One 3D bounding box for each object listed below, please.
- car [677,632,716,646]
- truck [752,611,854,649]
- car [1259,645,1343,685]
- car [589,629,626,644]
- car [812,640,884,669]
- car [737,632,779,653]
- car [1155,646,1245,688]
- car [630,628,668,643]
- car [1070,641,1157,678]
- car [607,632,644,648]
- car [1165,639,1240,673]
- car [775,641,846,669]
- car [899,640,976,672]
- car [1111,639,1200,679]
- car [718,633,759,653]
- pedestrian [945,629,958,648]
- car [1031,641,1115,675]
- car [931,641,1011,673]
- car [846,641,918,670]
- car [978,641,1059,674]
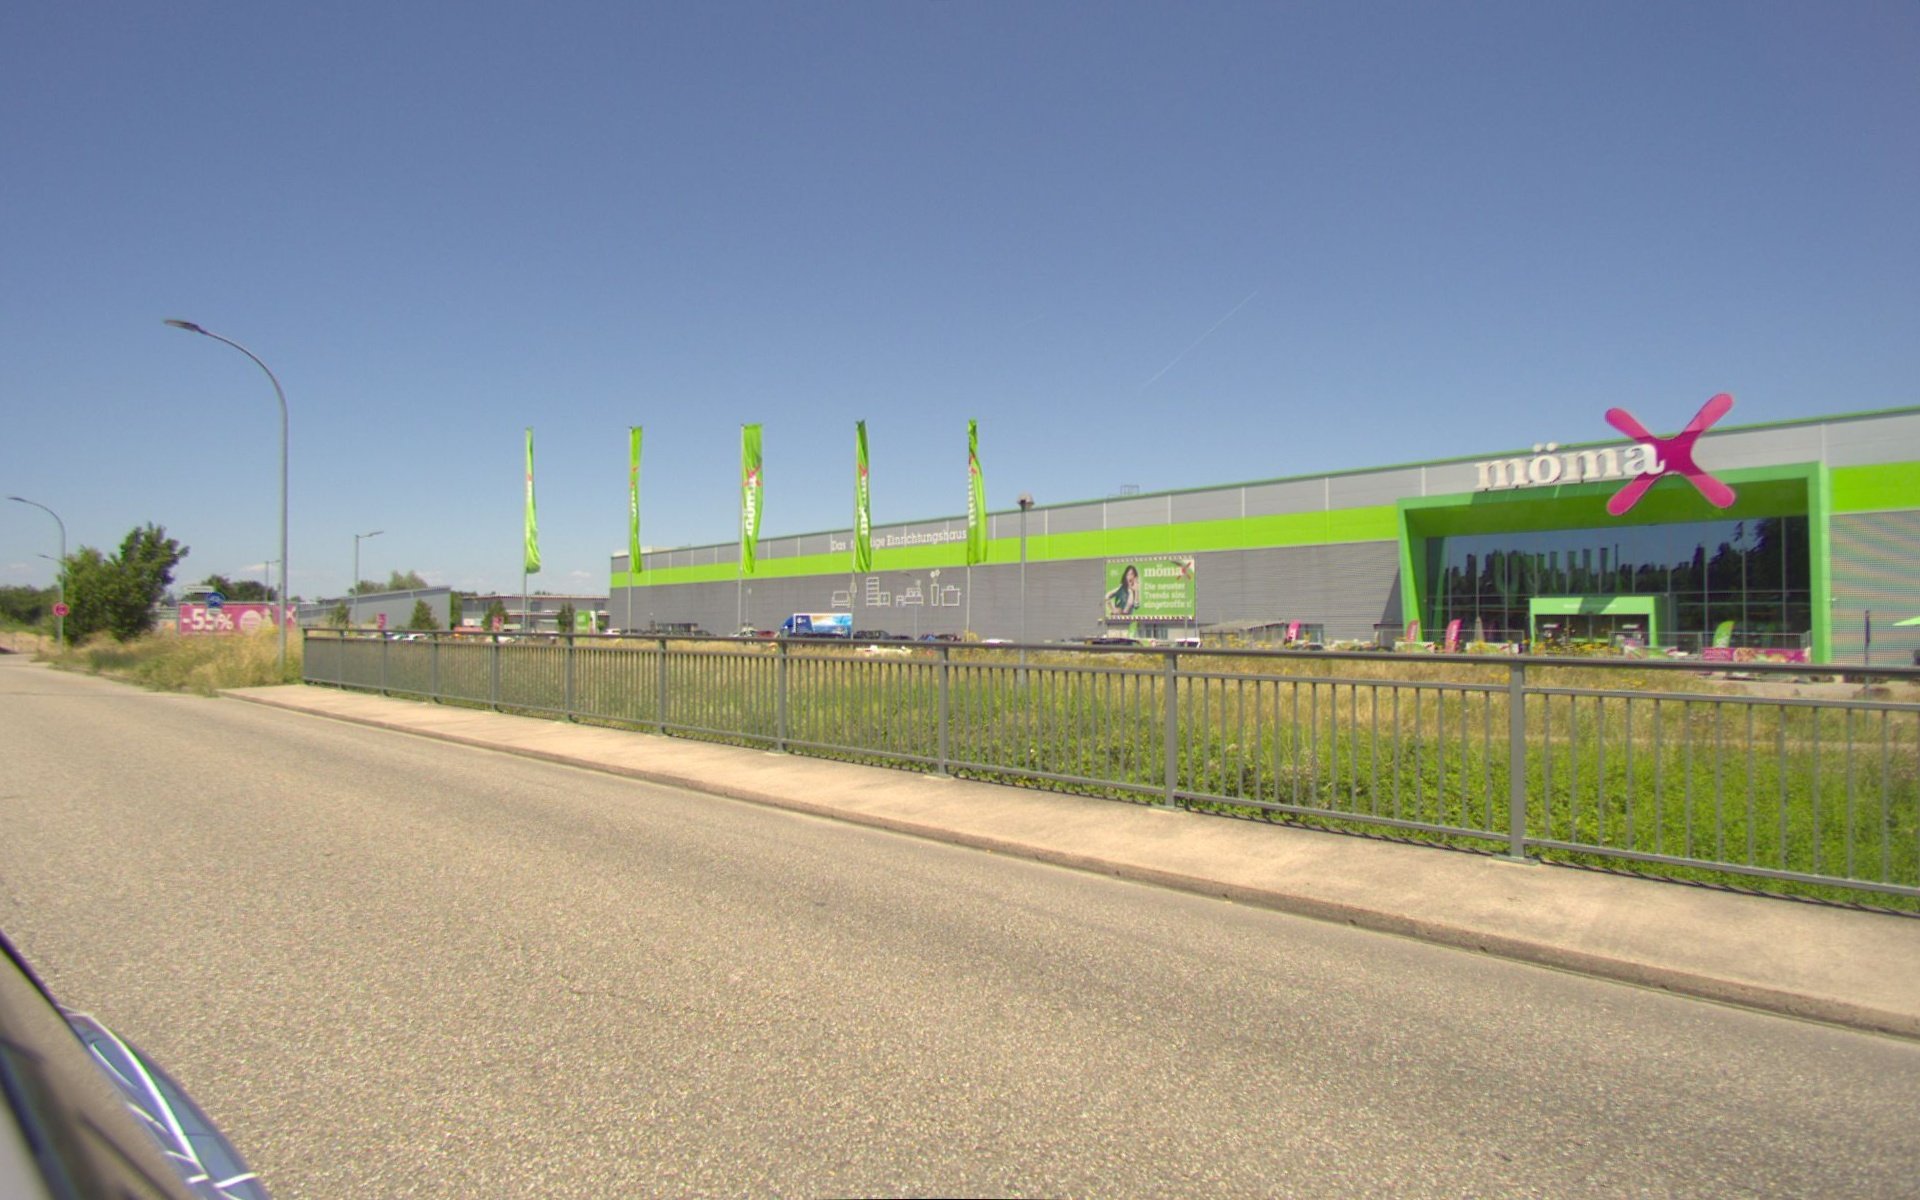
[{"bbox_3d":[-30.495,4.500,117.167,3.939,1.534,2.002,1,-3,-43],"label":"car"},{"bbox_3d":[-12.217,2.299,78.689,7.650,2.704,2.968,-1,-2,-10],"label":"truck"},{"bbox_3d":[15.253,2.856,45.135,2.001,1.524,3.942,-3,-1,44],"label":"car"},{"bbox_3d":[-45.431,4.660,130.477,3.940,1.752,2.002,-1,0,-44],"label":"car"},{"bbox_3d":[-6.721,3.281,61.101,2.001,1.524,3.942,-3,-1,44],"label":"car"},{"bbox_3d":[-21.386,4.530,107.086,3.940,2.029,1.912,-1,-1,-44],"label":"car"},{"bbox_3d":[10.323,2.816,43.382,2.001,1.524,3.942,-3,-1,44],"label":"car"},{"bbox_3d":[-37.807,4.305,123.244,3.940,1.752,2.002,-1,0,-44],"label":"car"},{"bbox_3d":[7.085,2.701,46.584,2.001,1.427,3.942,-3,-1,44],"label":"car"},{"bbox_3d":[-42.240,5.014,127.693,3.940,1.752,2.002,-1,0,-44],"label":"car"},{"bbox_3d":[12.602,2.868,52.565,2.001,1.524,3.942,-3,-1,44],"label":"car"},{"bbox_3d":[-9.367,3.432,63.594,2.001,1.478,3.942,-3,-1,44],"label":"car"},{"bbox_3d":[-1.208,3.037,55.565,2.001,1.524,3.942,-3,-1,44],"label":"car"},{"bbox_3d":[8.708,2.577,44.997,2.001,1.524,3.942,-3,-1,44],"label":"car"},{"bbox_3d":[-23.860,4.614,109.065,3.936,2.029,1.915,-1,-1,-39],"label":"car"},{"bbox_3d":[-0.676,3.059,81.073,0.766,1.463,0.630,-3,-1,42],"label":"pedestrian"},{"bbox_3d":[5.505,2.784,48.954,2.001,1.420,3.942,-3,-1,44],"label":"car"},{"bbox_3d":[0.620,2.976,52.969,2.001,1.441,3.942,-3,-1,44],"label":"car"},{"bbox_3d":[-4.552,3.242,59.434,1.847,1.448,3.942,-3,-1,44],"label":"car"},{"bbox_3d":[2.986,2.874,51.200,2.001,1.455,3.942,-3,-1,44],"label":"car"}]
